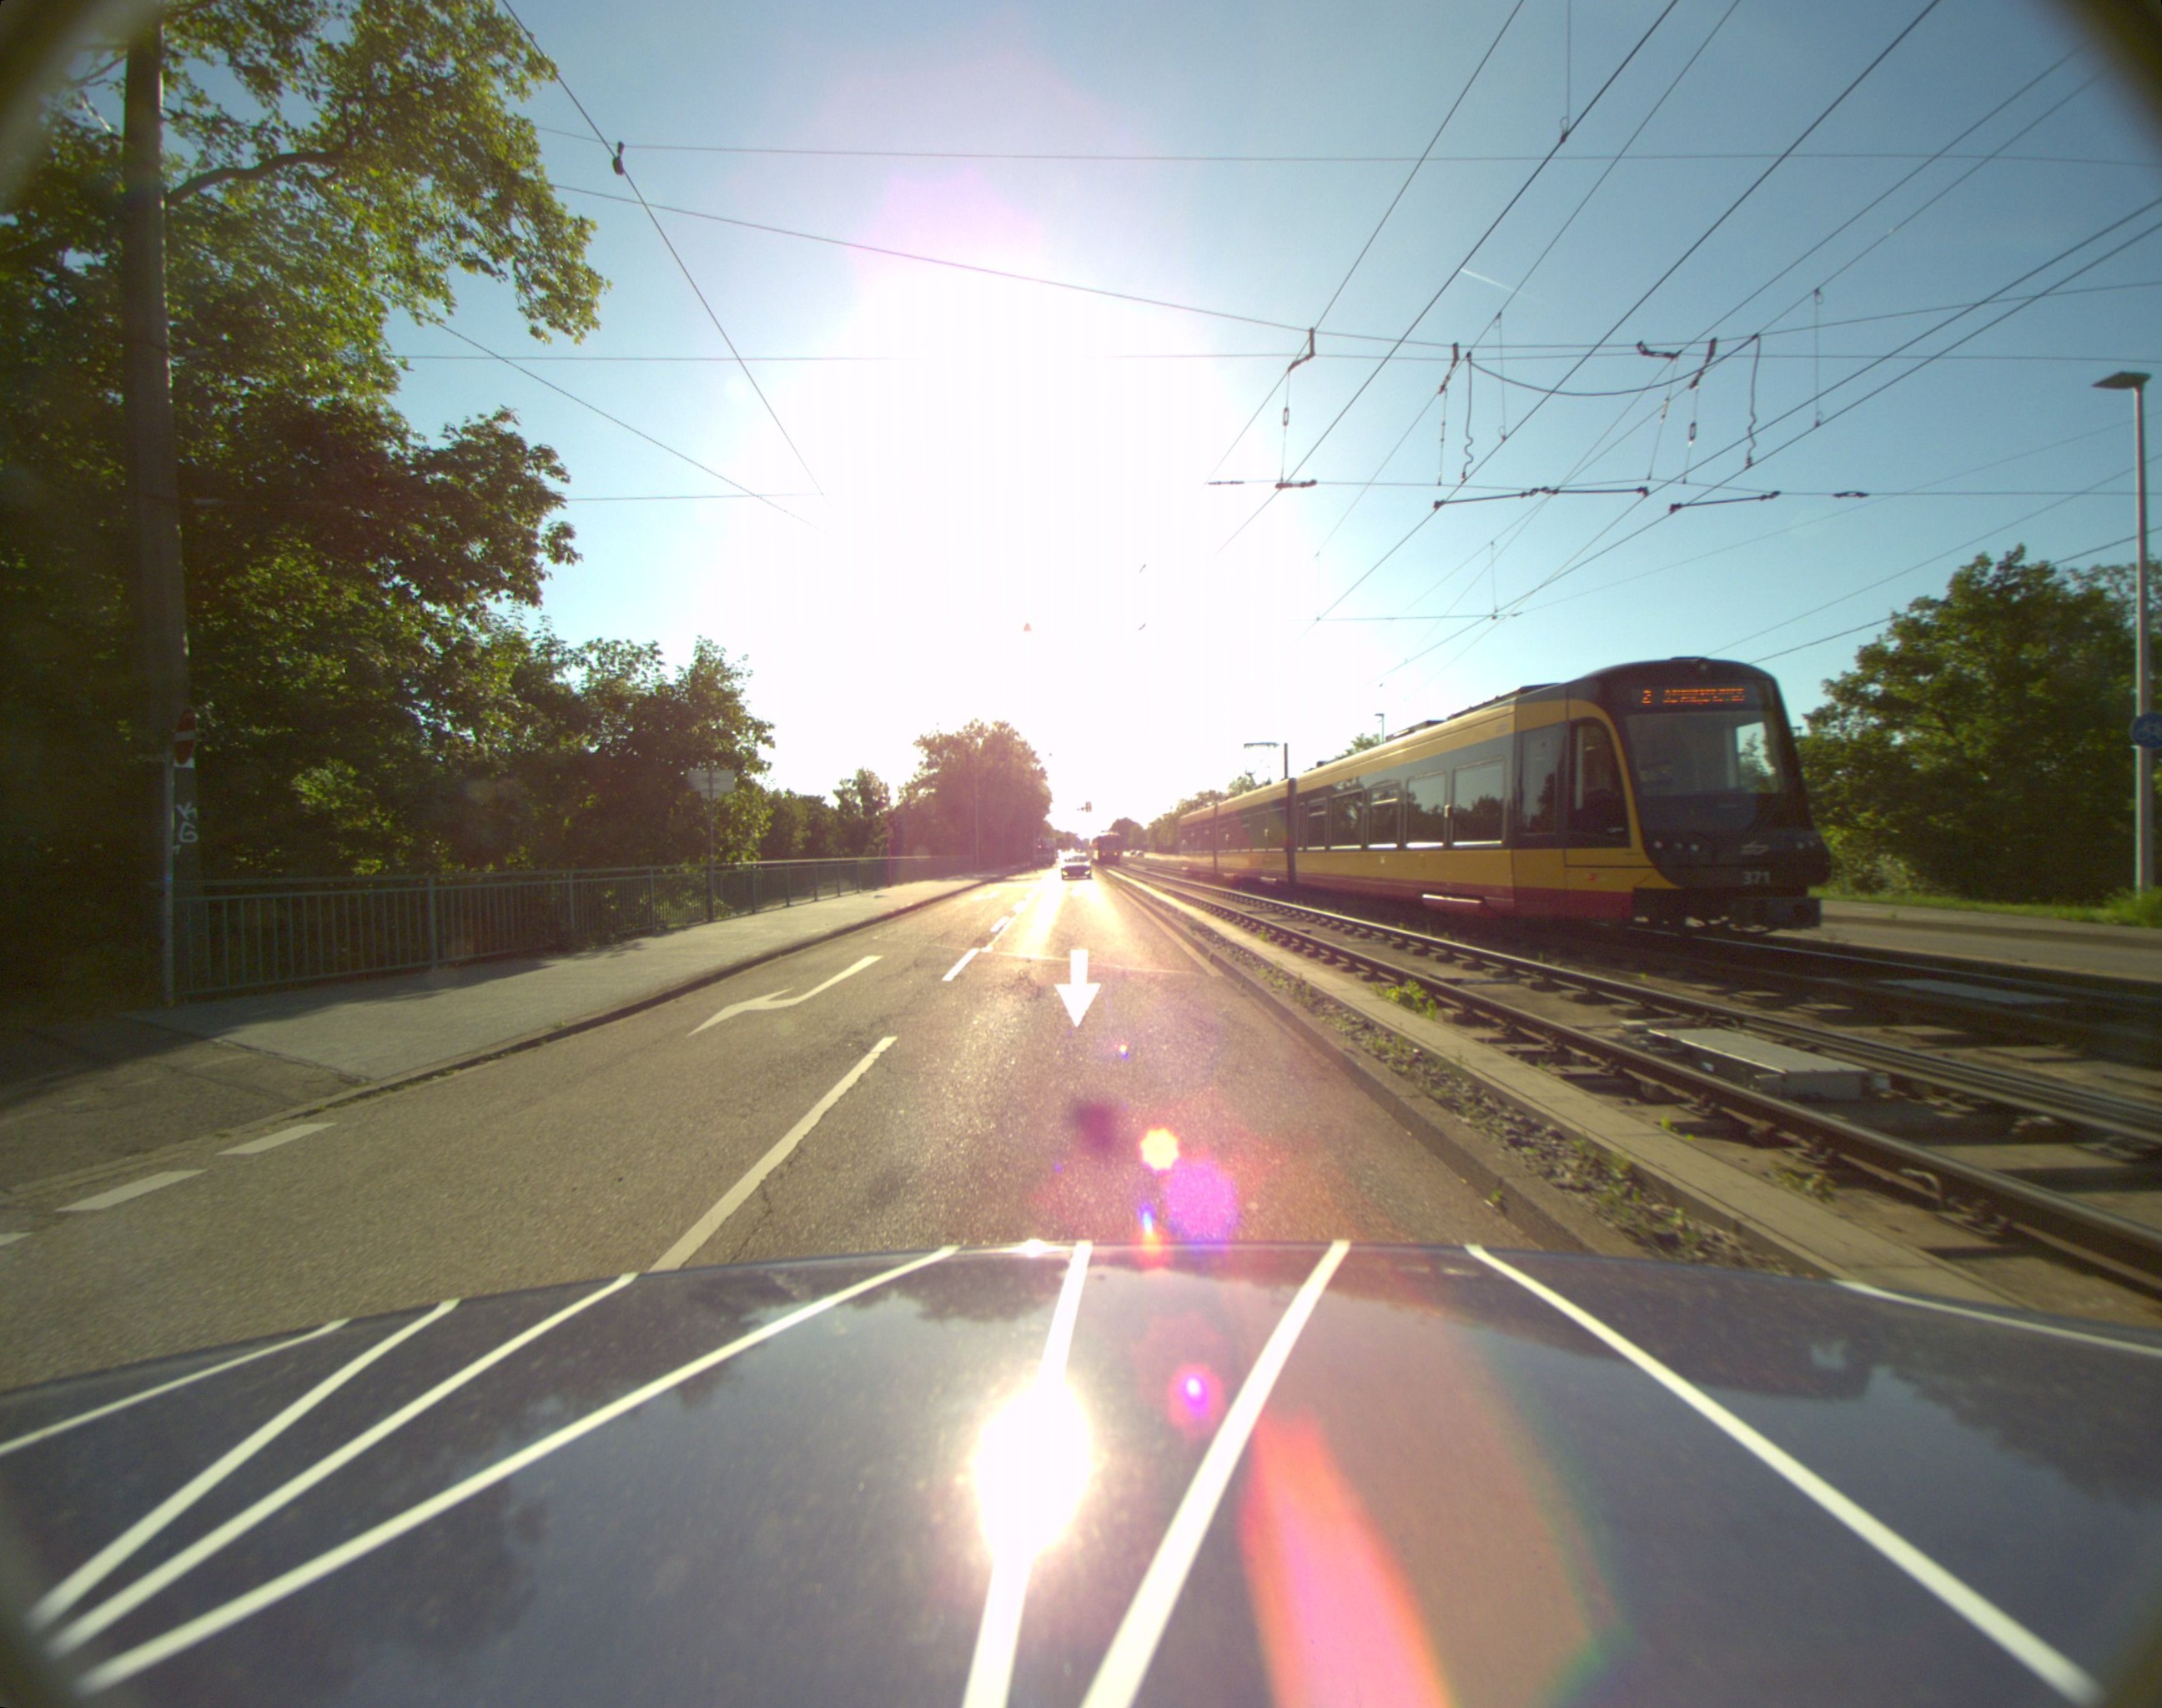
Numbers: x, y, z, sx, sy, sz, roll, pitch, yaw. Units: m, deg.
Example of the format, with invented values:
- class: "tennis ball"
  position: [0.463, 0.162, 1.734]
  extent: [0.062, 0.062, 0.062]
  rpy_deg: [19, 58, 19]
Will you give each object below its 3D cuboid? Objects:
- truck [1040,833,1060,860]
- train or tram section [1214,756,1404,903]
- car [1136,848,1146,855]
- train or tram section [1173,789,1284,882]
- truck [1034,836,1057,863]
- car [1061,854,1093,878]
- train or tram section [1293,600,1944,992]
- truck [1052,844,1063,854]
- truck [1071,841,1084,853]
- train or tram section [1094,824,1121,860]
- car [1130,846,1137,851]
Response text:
- class: "truck"
  position: [-4.574, -1.083, 114.158]
  extent: [2.559, 3.826, 7.869]
  rpy_deg: [-1, 1, 0]
- class: "train or tram section"
  position: [7.154, -0.693, 26.236]
  extent: [2.984, 3.878, 11.663]
  rpy_deg: [-1, 1, 0]
- class: "car"
  position: [12.903, -0.622, 163.180]
  extent: [1.802, 1.345, 3.999]
  rpy_deg: [-3, 1, 0]
- class: "train or tram section"
  position: [7.028, -0.837, 38.626]
  extent: [3.011, 3.878, 13.079]
  rpy_deg: [-1, 0, 0]
- class: "truck"
  position: [-4.484, -0.587, 97.549]
  extent: [2.610, 3.186, 7.869]
  rpy_deg: [-1, 1, 0]
- class: "car"
  position: [-0.254, 0.697, 45.041]
  extent: [1.801, 1.345, 4.000]
  rpy_deg: [-1, 0, 0]
- class: "train or tram section"
  position: [7.207, -0.627, 14.013]
  extent: [2.985, 3.878, 12.699]
  rpy_deg: [-1, 0, 0]
- class: "truck"
  position: [-5.107, -1.098, 162.960]
  extent: [2.097, 1.961, 6.026]
  rpy_deg: [-1, 0, 0]
- class: "truck"
  position: [-1.066, -1.957, 212.431]
  extent: [3.314, 3.283, 15.319]
  rpy_deg: [-1, 0, 0]
- class: "train or tram section"
  position: [3.019, -1.352, 89.787]
  extent: [2.569, 3.878, 11.669]
  rpy_deg: [-1, 1, -1]
- class: "car"
  position: [14.555, -1.551, 210.831]
  extent: [1.802, 1.345, 3.999]
  rpy_deg: [-3, 1, 0]
